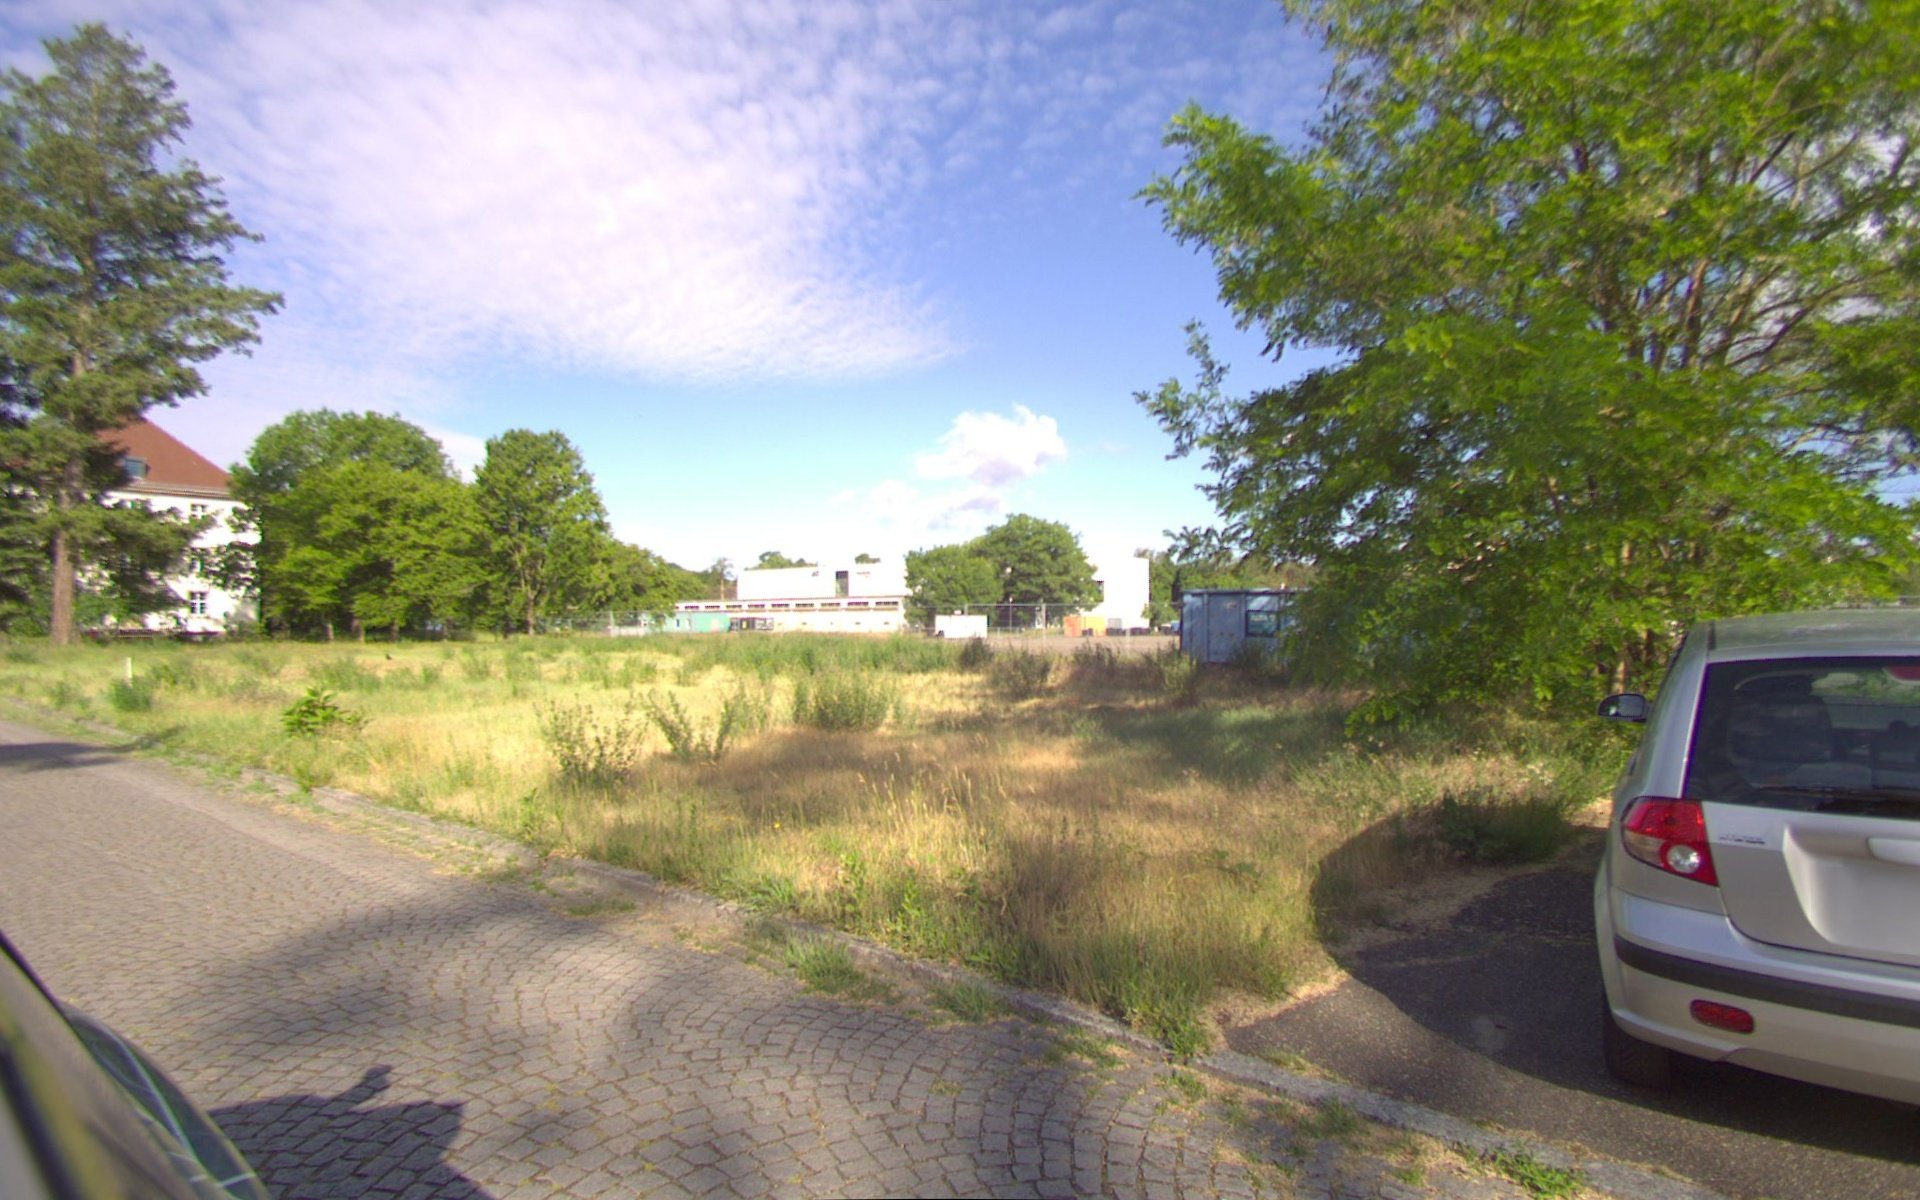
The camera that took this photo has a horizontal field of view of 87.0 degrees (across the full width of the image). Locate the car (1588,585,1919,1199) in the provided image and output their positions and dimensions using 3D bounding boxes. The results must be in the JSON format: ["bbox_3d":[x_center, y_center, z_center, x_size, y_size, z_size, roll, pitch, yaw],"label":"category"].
[{"bbox_3d":[3.437,0.727,3.682,1.634,1.482,3.433,-1,1,37],"label":"car"}]
